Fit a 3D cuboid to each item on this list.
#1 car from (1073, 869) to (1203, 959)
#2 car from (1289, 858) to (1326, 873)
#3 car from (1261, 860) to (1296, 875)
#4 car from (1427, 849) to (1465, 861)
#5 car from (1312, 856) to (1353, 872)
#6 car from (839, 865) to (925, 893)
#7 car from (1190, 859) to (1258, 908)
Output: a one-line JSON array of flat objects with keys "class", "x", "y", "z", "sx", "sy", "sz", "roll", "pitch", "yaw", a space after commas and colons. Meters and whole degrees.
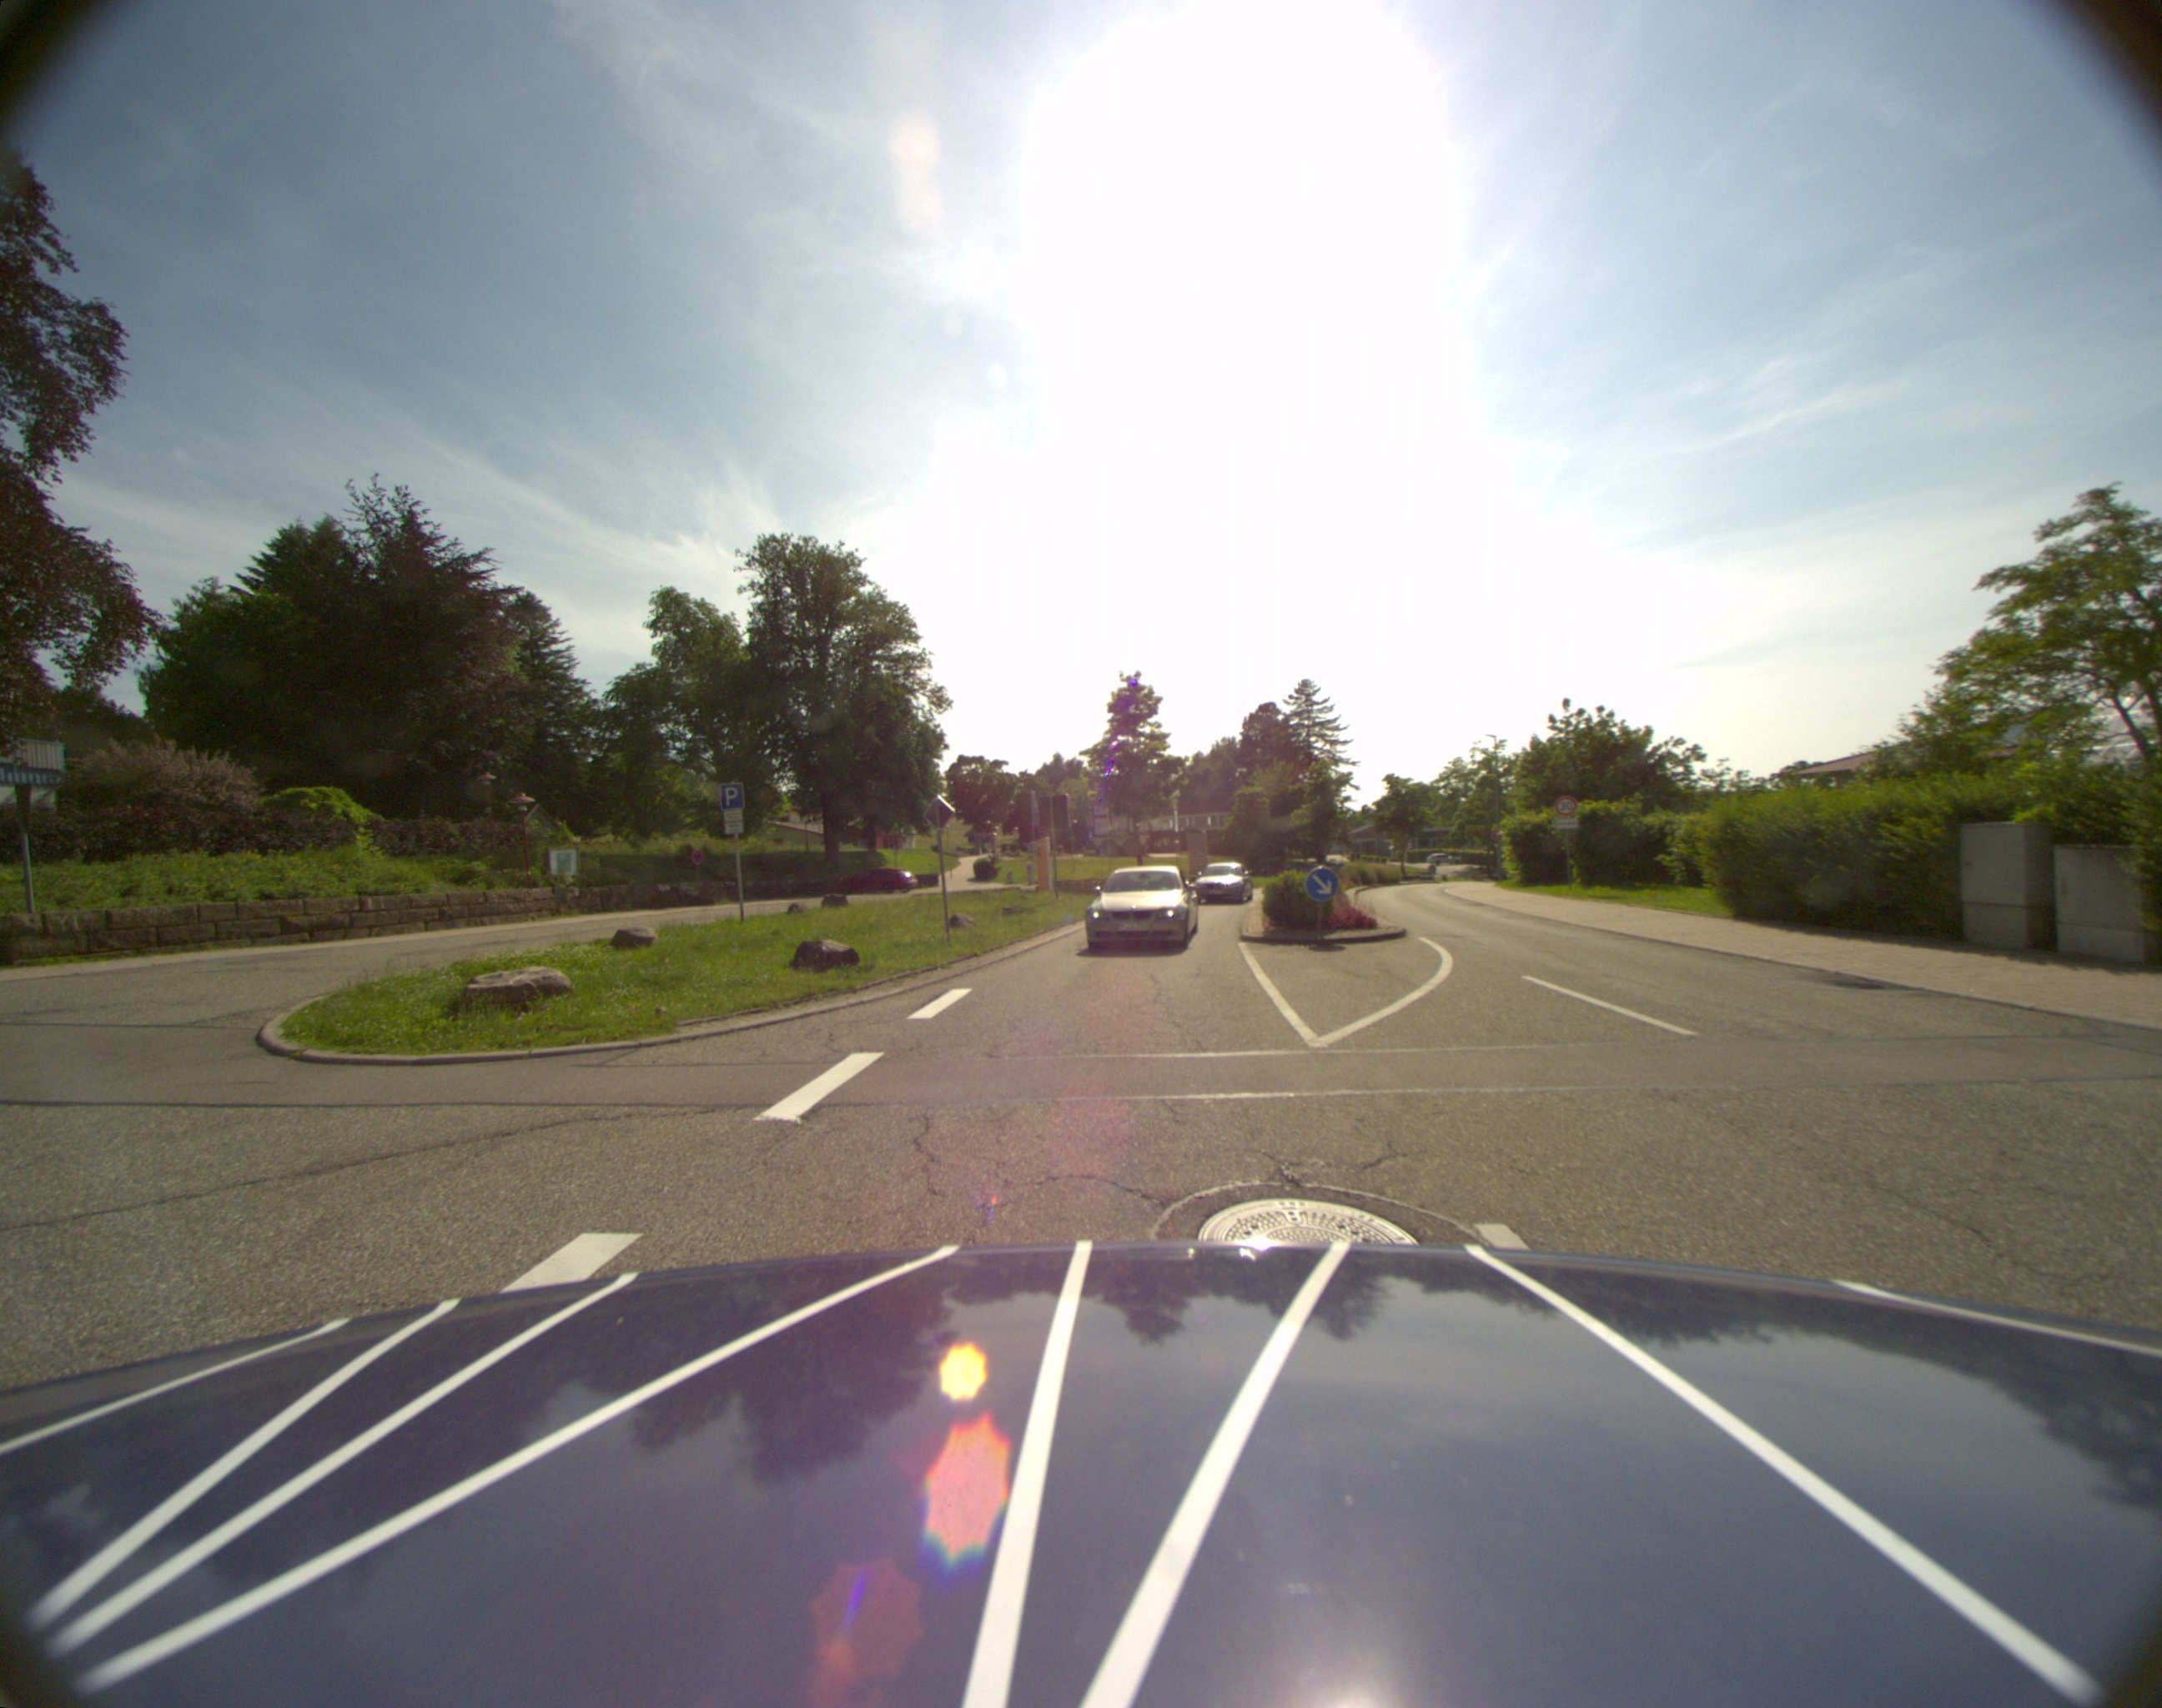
[{"class": "car", "x": 1.266, "y": 1.026, "z": 14.653, "sx": 1.837, "sy": 1.360, "sz": 4.586, "roll": -1, "pitch": 0, "yaw": 13}, {"class": "car", "x": 23.954, "y": 1.209, "z": 80.361, "sx": 1.688, "sy": 1.419, "sz": 3.531, "roll": 0, "pitch": 1, "yaw": -27}, {"class": "car", "x": 20.533, "y": 1.349, "z": 79.090, "sx": 1.717, "sy": 1.396, "sz": 3.304, "roll": -1, "pitch": 2, "yaw": -32}, {"class": "car", "x": 50.751, "y": 0.092, "z": 105.743, "sx": 4.365, "sy": 1.506, "sz": 1.793, "roll": 1, "pitch": 1, "yaw": 1}, {"class": "car", "x": 27.440, "y": 1.077, "z": 82.920, "sx": 2.003, "sy": 1.609, "sz": 3.990, "roll": 0, "pitch": 1, "yaw": -27}, {"class": "car", "x": -10.887, "y": 1.351, "z": 41.563, "sx": 4.257, "sy": 1.420, "sz": 1.704, "roll": -1, "pitch": 1, "yaw": 19}, {"class": "car", "x": 5.235, "y": 1.003, "z": 27.480, "sx": 1.900, "sy": 1.499, "sz": 4.005, "roll": 2, "pitch": 1, "yaw": 18}]
